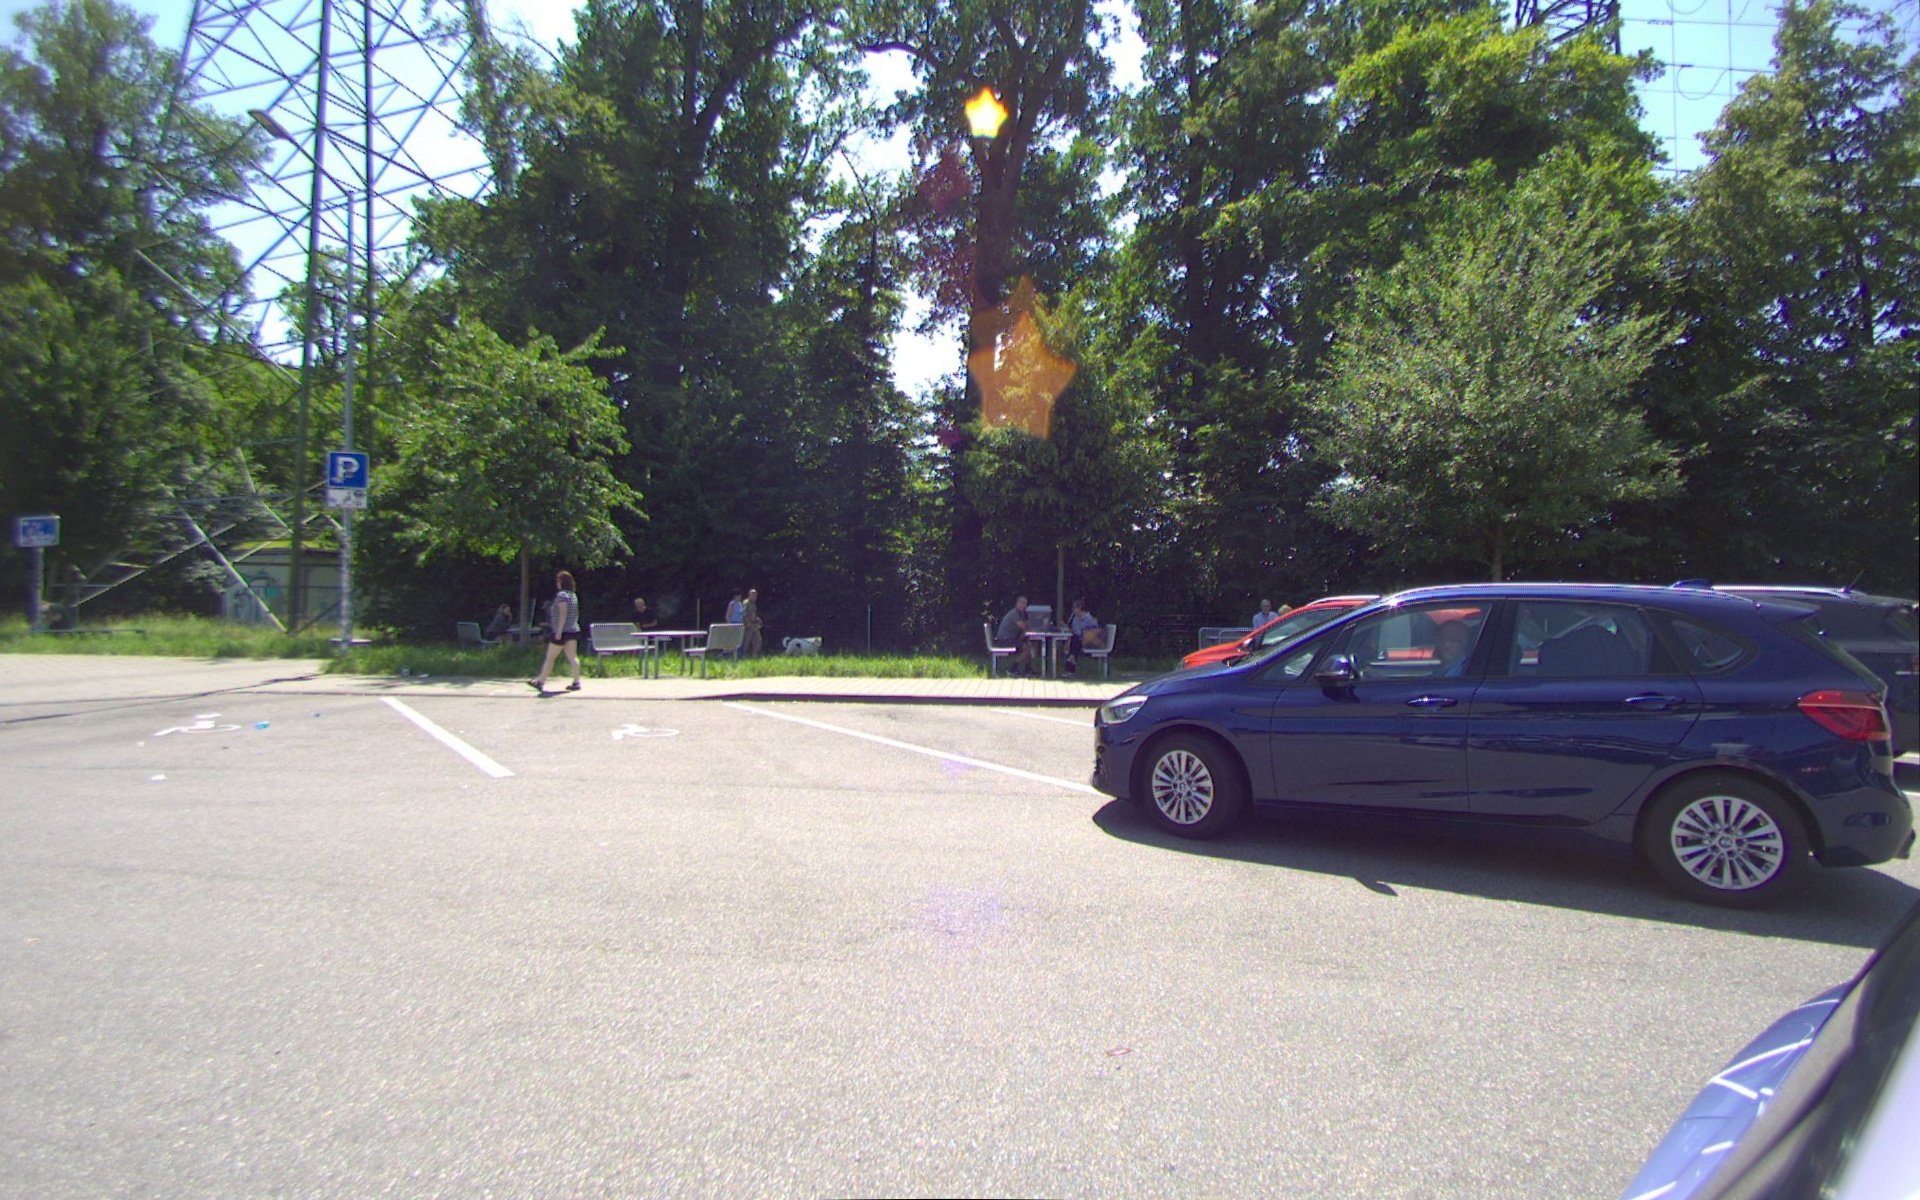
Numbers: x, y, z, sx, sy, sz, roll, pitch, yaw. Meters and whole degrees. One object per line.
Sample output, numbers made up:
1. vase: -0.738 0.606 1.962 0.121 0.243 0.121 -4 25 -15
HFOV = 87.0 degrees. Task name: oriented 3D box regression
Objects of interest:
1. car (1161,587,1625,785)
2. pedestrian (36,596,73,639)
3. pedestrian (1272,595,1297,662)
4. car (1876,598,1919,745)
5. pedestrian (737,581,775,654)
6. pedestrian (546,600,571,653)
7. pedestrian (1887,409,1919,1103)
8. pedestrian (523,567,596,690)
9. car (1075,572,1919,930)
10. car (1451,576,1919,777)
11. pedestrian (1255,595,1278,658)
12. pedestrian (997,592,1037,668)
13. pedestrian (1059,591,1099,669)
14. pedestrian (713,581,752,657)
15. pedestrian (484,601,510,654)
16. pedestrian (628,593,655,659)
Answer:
1. car: 3.860 0.630 9.643 1.619 1.487 3.830 0 0 -33
2. pedestrian: -20.974 0.395 23.449 0.452 0.987 0.447 0 0 -2
3. pedestrian: 5.749 0.501 17.945 0.350 1.180 0.384 0 0 8
4. car: 10.876 0.699 9.006 1.620 1.420 3.826 0 0 -37
5. pedestrian: -4.591 0.384 22.799 0.636 1.625 0.571 0 0 -40
6. pedestrian: -9.367 0.612 23.592 0.452 1.209 0.447 0 0 -34
7. pedestrian: 3.024 0.449 2.457 0.803 1.974 0.916 0 0 17
8. pedestrian: -5.605 0.388 14.187 0.703 1.670 0.686 0 0 9
9. car: 3.013 0.627 6.076 4.304 1.572 1.731 1 1 28
10. car: 7.076 0.589 9.860 1.620 1.575 3.826 0 0 -37
11. pedestrian: 5.797 0.489 19.121 0.350 1.180 0.384 0 0 8
12. pedestrian: 0.968 0.493 17.107 0.586 1.261 0.445 0 0 16
13. pedestrian: 1.981 0.491 16.851 0.586 1.261 0.498 0 0 16
14. pedestrian: -4.960 0.393 22.087 0.636 1.625 0.571 0 0 -40
15. pedestrian: -10.456 0.611 22.851 0.452 1.182 0.447 0 0 -34
16. pedestrian: -6.709 0.543 21.340 0.438 1.363 0.462 0 0 -5
